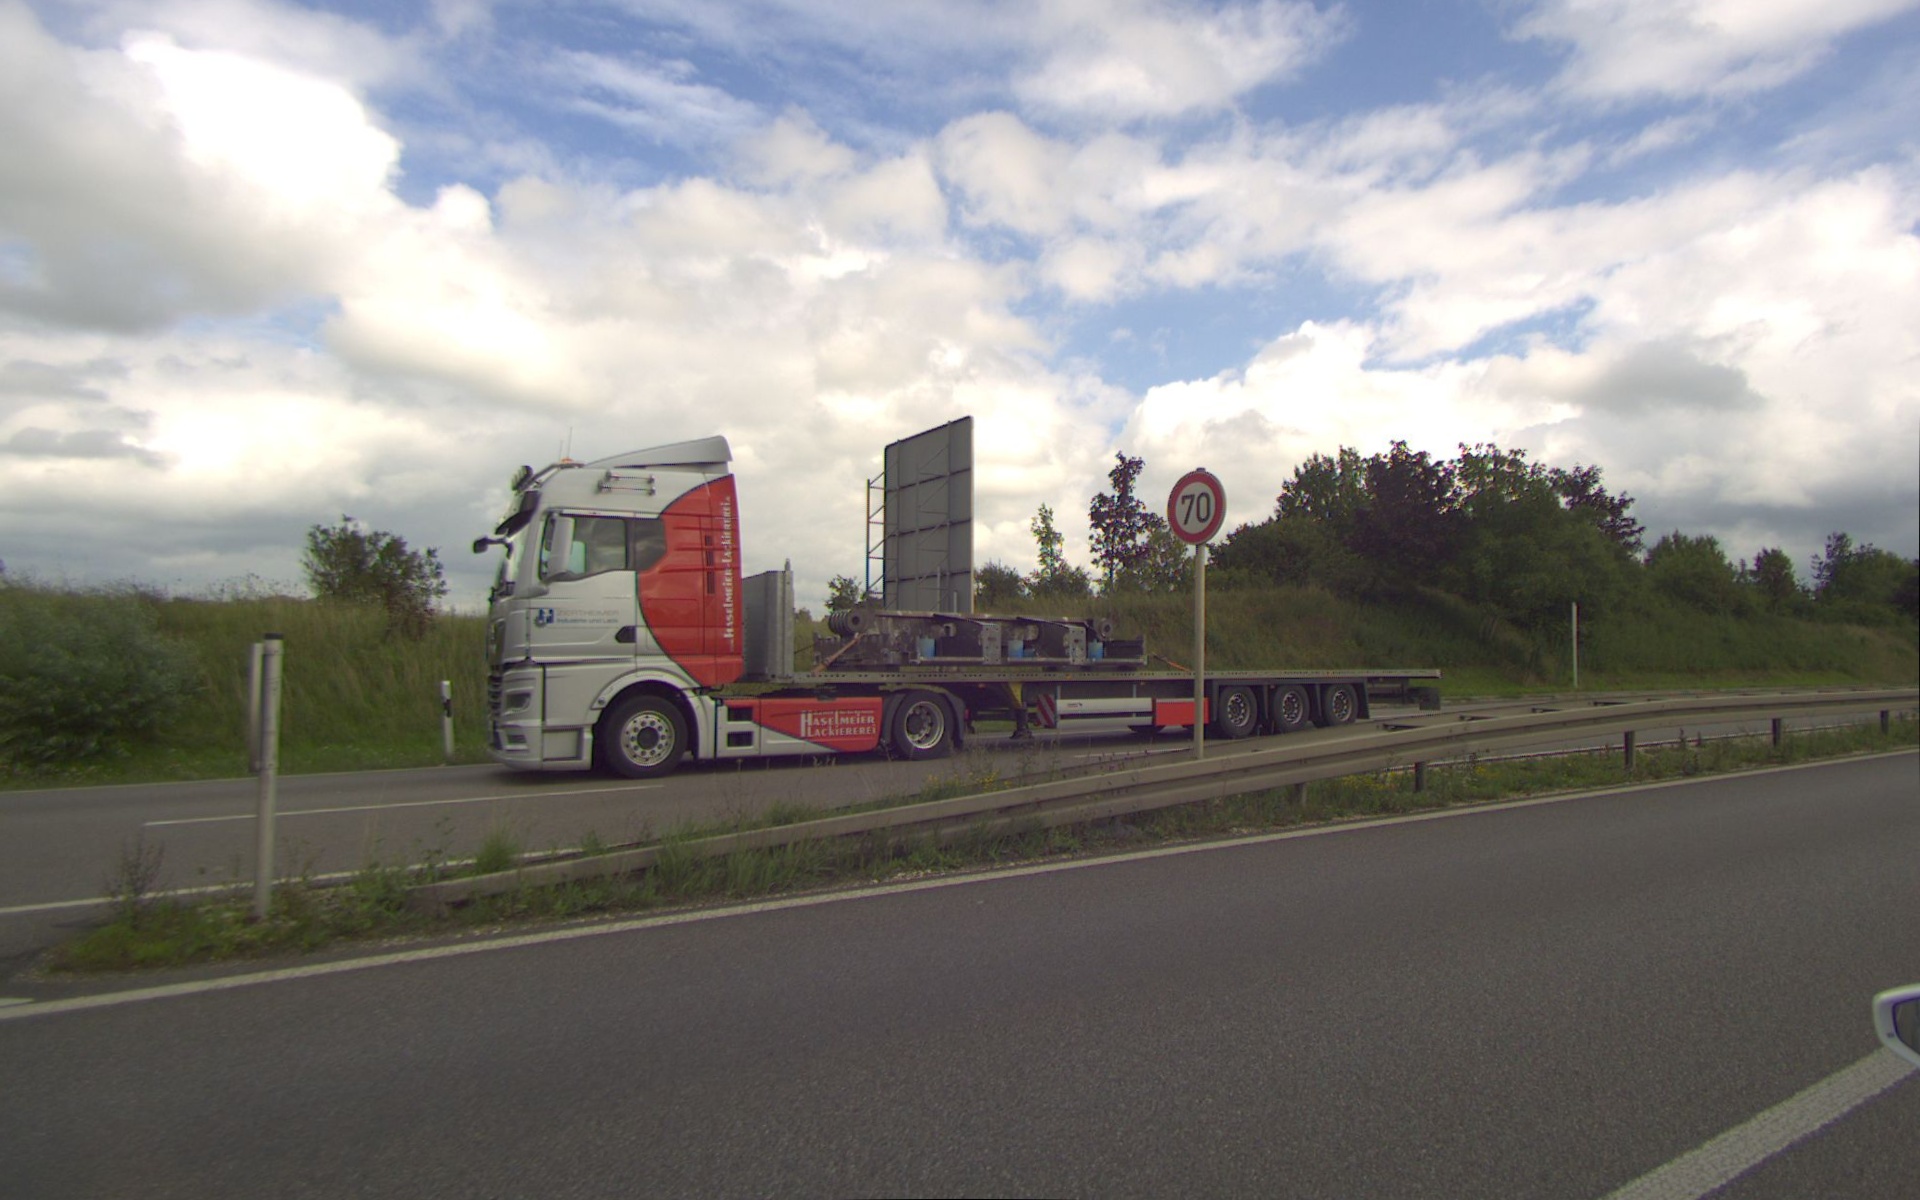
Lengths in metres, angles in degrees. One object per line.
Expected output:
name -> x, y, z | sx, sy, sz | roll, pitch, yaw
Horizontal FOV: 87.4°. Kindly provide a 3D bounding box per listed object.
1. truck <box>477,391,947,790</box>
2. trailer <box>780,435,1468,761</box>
truck -> -3.101, -0.018, 12.762 | 5.227, 4.050, 2.789 | 1, -2, -32
trailer -> 3.524, 0.121, 16.919 | 12.840, 3.999, 2.760 | 1, -2, -32
